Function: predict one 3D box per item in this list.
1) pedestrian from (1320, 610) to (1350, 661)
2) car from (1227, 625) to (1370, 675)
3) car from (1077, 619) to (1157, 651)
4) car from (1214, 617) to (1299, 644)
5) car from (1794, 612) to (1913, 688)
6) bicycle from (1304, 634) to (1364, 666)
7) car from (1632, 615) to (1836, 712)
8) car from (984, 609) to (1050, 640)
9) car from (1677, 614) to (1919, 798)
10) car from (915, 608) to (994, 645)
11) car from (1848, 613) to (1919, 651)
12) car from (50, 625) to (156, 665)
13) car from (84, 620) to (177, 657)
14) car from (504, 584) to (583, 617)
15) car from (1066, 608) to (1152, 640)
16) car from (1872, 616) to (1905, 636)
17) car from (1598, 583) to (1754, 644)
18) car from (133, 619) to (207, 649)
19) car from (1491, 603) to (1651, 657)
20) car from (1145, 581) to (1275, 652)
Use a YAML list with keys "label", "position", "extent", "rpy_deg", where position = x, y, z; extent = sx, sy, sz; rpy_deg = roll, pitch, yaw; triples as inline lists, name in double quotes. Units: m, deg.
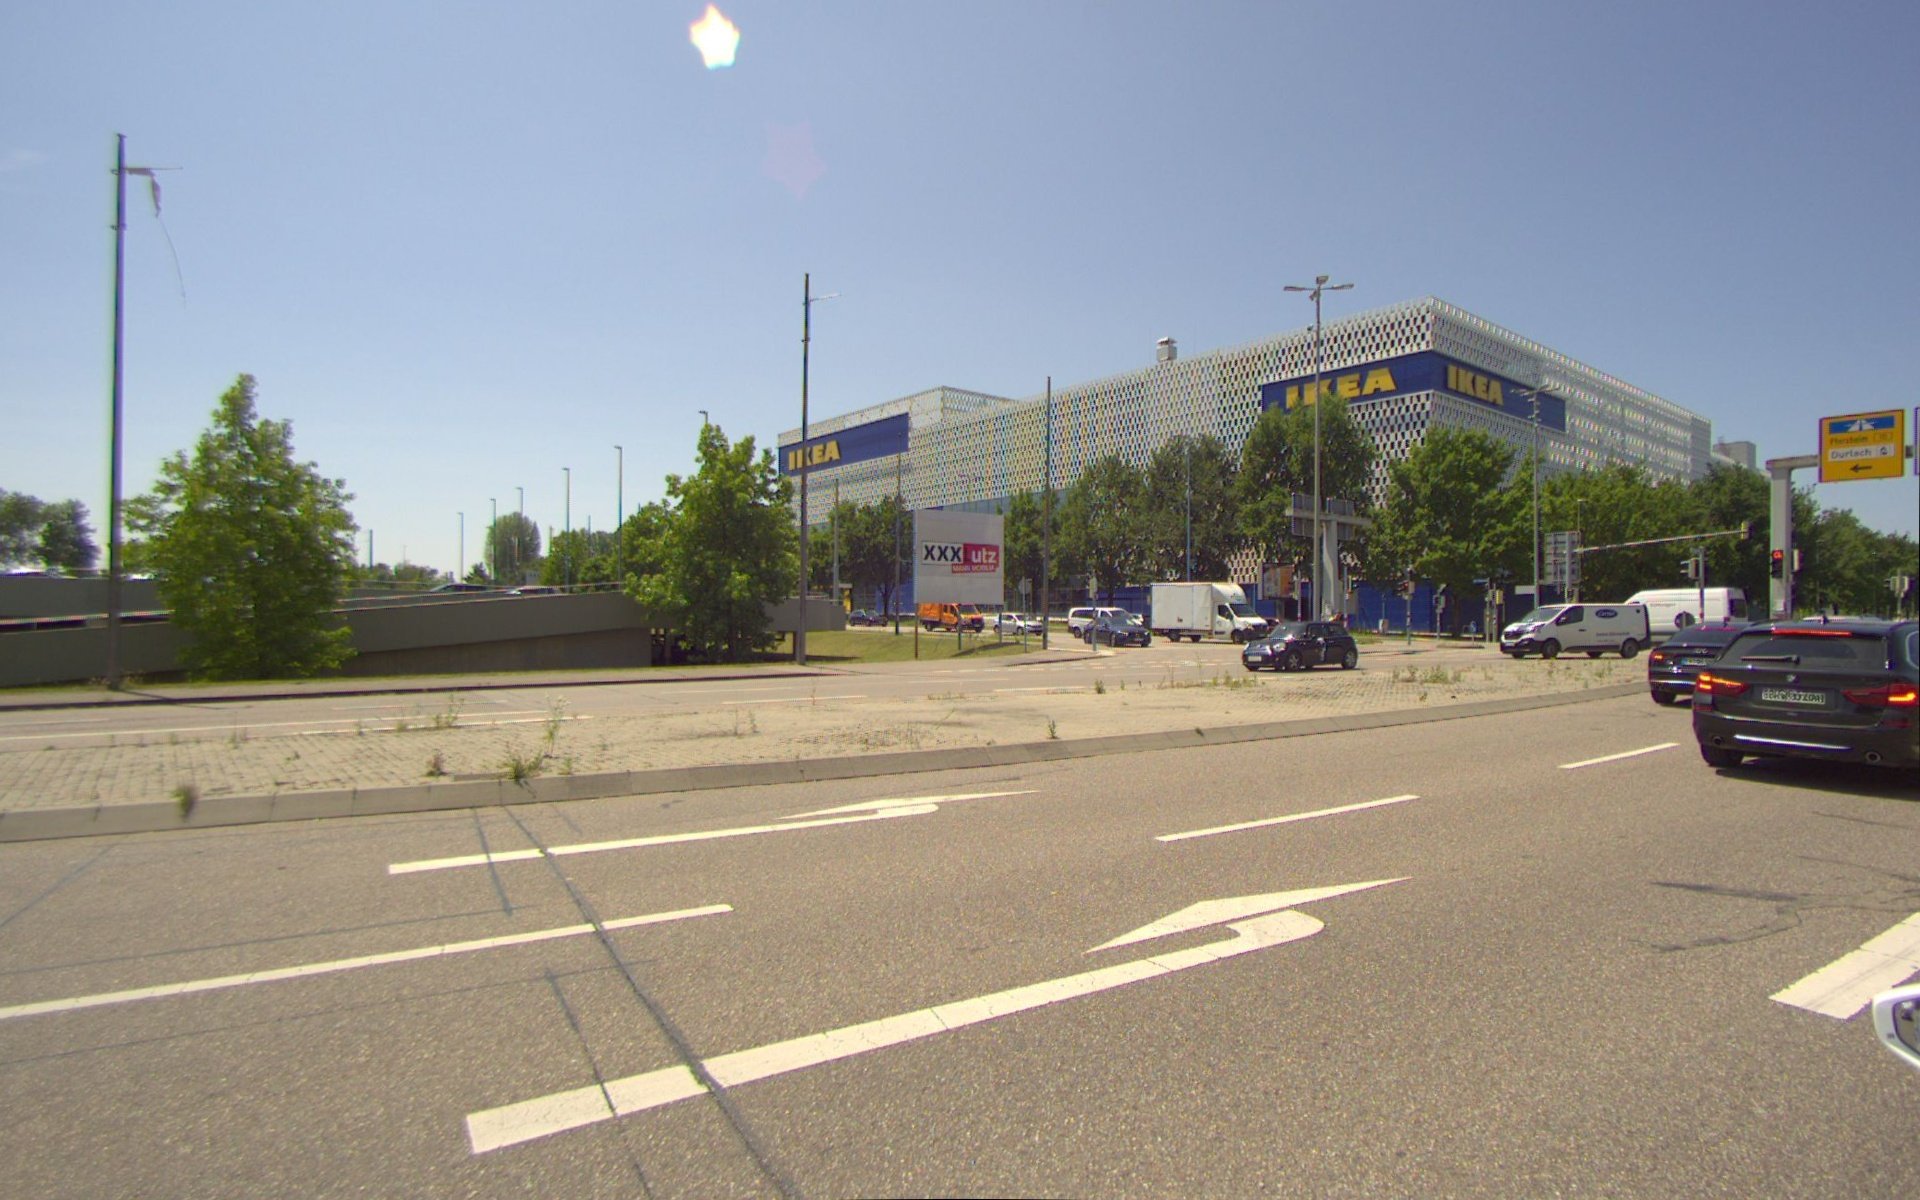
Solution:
- label: "pedestrian"
  position: [15.423, 1.445, 41.314]
  extent: [0.859, 2.040, 0.895]
  rpy_deg: [0, -1, -45]
- label: "car"
  position: [9.885, 1.420, 29.334]
  extent: [3.845, 1.320, 1.848]
  rpy_deg: [0, -2, -29]
- label: "car"
  position: [7.819, 1.730, 50.321]
  extent: [1.910, 1.528, 3.969]
  rpy_deg: [0, -1, -29]
- label: "car"
  position: [16.110, 1.646, 54.796]
  extent: [1.760, 1.360, 4.251]
  rpy_deg: [-1, -1, -37]
- label: "car"
  position: [19.920, 1.030, 22.347]
  extent: [1.779, 1.514, 3.975]
  rpy_deg: [0, 0, 45]
- label: "bicycle"
  position: [15.391, 2.053, 41.338]
  extent: [0.990, 1.229, 2.072]
  rpy_deg: [-1, 0, -44]
- label: "car"
  position: [13.421, 0.994, 17.318]
  extent: [4.492, 1.409, 1.735]
  rpy_deg: [0, 0, -38]
- label: "car"
  position: [3.807, 1.661, 67.781]
  extent: [1.981, 2.040, 4.665]
  rpy_deg: [1, -1, -37]
- label: "car"
  position: [9.227, 0.893, 10.192]
  extent: [4.577, 1.485, 1.788]
  rpy_deg: [0, -1, -35]
- label: "car"
  position: [-0.466, 1.941, 74.200]
  extent: [2.550, 2.568, 6.564]
  rpy_deg: [1, -1, -35]
- label: "car"
  position: [34.655, 1.158, 36.472]
  extent: [1.608, 1.375, 3.345]
  rpy_deg: [1, -1, -35]
- label: "car"
  position: [-44.954, 2.337, 52.820]
  extent: [3.957, 2.040, 1.982]
  rpy_deg: [1, -2, -33]
- label: "car"
  position: [-48.047, 2.201, 58.304]
  extent: [3.959, 2.040, 1.981]
  rpy_deg: [1, -2, -35]
- label: "car"
  position: [-24.936, 0.051, 60.240]
  extent: [3.970, 1.934, 1.976]
  rpy_deg: [1, -1, -42]
- label: "car"
  position: [8.888, 1.458, 60.571]
  extent: [1.980, 1.835, 5.419]
  rpy_deg: [0, -1, -35]
- label: "car"
  position: [97.106, 2.751, 105.031]
  extent: [4.724, 2.034, 1.977]
  rpy_deg: [1, -2, -40]
- label: "car"
  position: [32.378, 0.606, 45.652]
  extent: [1.975, 2.601, 5.467]
  rpy_deg: [1, 0, -28]
- label: "car"
  position: [-55.186, 2.377, 70.251]
  extent: [3.962, 2.040, 1.980]
  rpy_deg: [1, -2, -36]
- label: "car"
  position: [21.912, 1.056, 36.134]
  extent: [4.748, 1.875, 1.835]
  rpy_deg: [0, 0, -4]
- label: "car"
  position: [13.295, 0.856, 53.957]
  extent: [2.163, 3.533, 6.851]
  rpy_deg: [-2, 0, -38]
